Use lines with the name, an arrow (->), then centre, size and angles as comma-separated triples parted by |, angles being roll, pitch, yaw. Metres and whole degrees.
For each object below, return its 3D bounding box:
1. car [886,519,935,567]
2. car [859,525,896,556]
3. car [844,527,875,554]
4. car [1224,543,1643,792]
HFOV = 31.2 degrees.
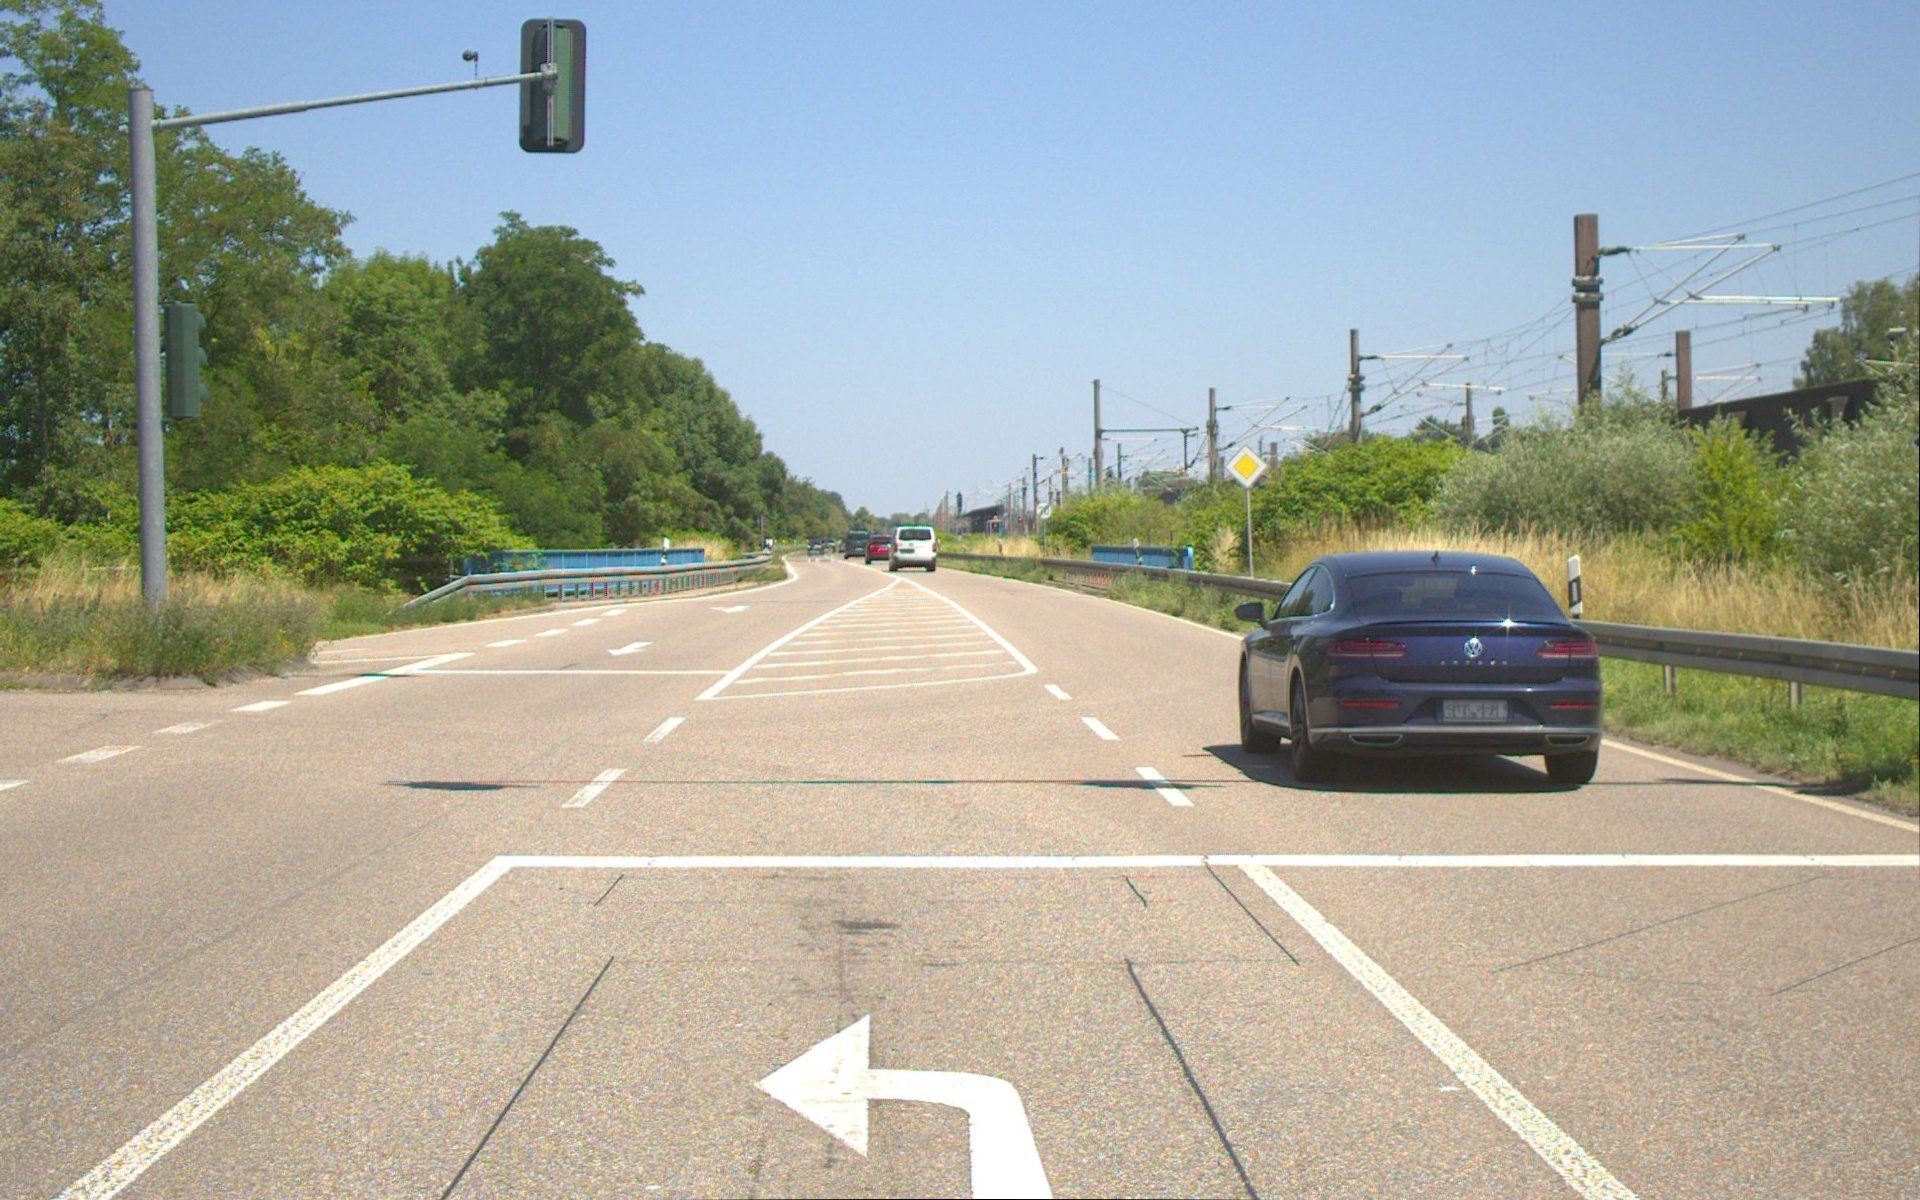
car -> -2.124, -2.457, 147.305 | 1.993, 1.977, 4.060 | 1, 1, -2
car -> -4.674, -3.382, 194.582 | 2.019, 1.720, 4.543 | 0, 1, -3
car -> -7.371, -4.403, 252.298 | 2.154, 1.961, 4.543 | 0, 1, -3
car -> 2.886, 0.352, 21.941 | 1.856, 1.375, 4.504 | 1, 1, -2
